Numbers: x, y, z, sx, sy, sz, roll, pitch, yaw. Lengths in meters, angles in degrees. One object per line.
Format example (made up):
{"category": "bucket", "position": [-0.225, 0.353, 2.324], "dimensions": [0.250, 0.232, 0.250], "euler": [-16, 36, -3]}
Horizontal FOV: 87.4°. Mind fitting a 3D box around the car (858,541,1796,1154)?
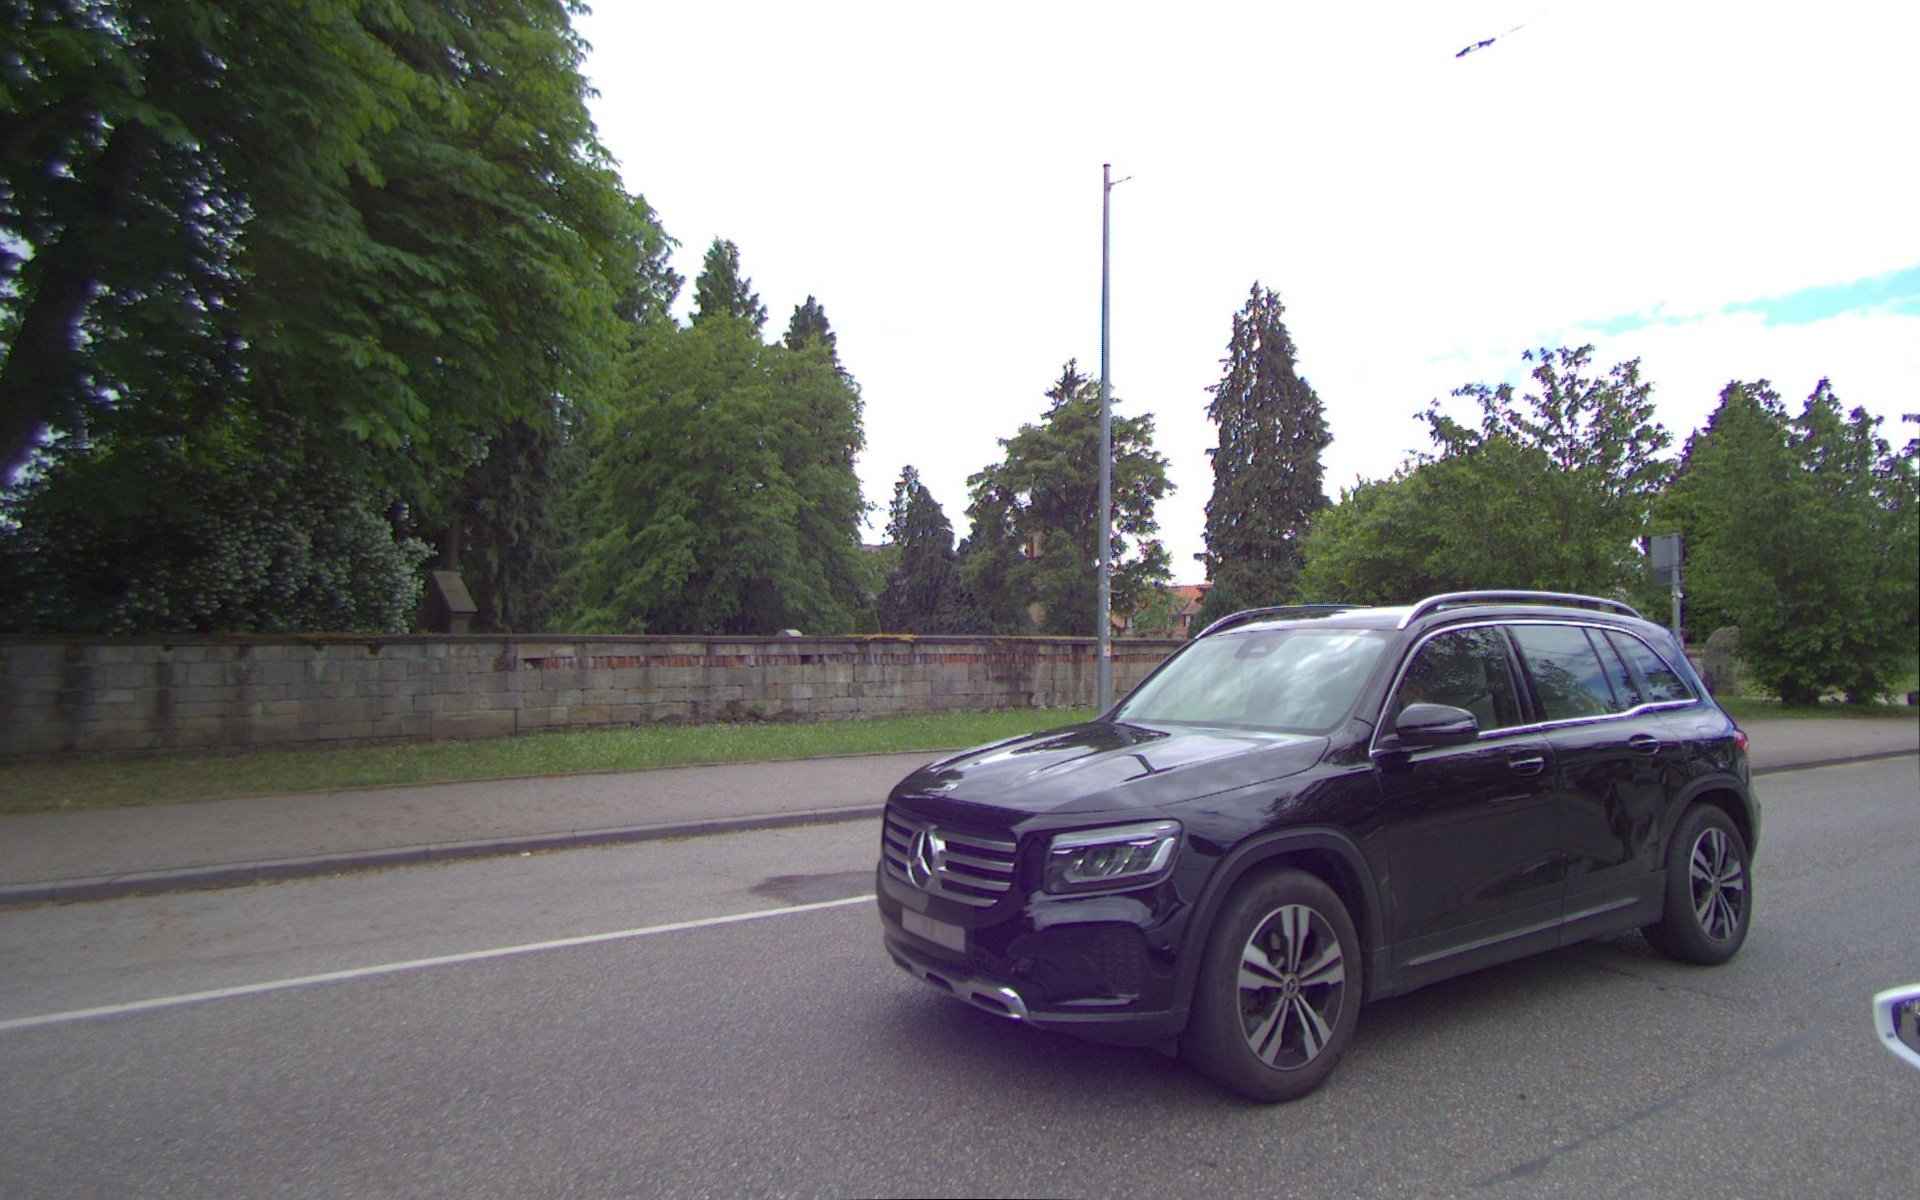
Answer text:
{"category": "car", "position": [1.769, 0.797, 4.619], "dimensions": [4.080, 1.666, 1.872], "euler": [2, -5, -31]}
